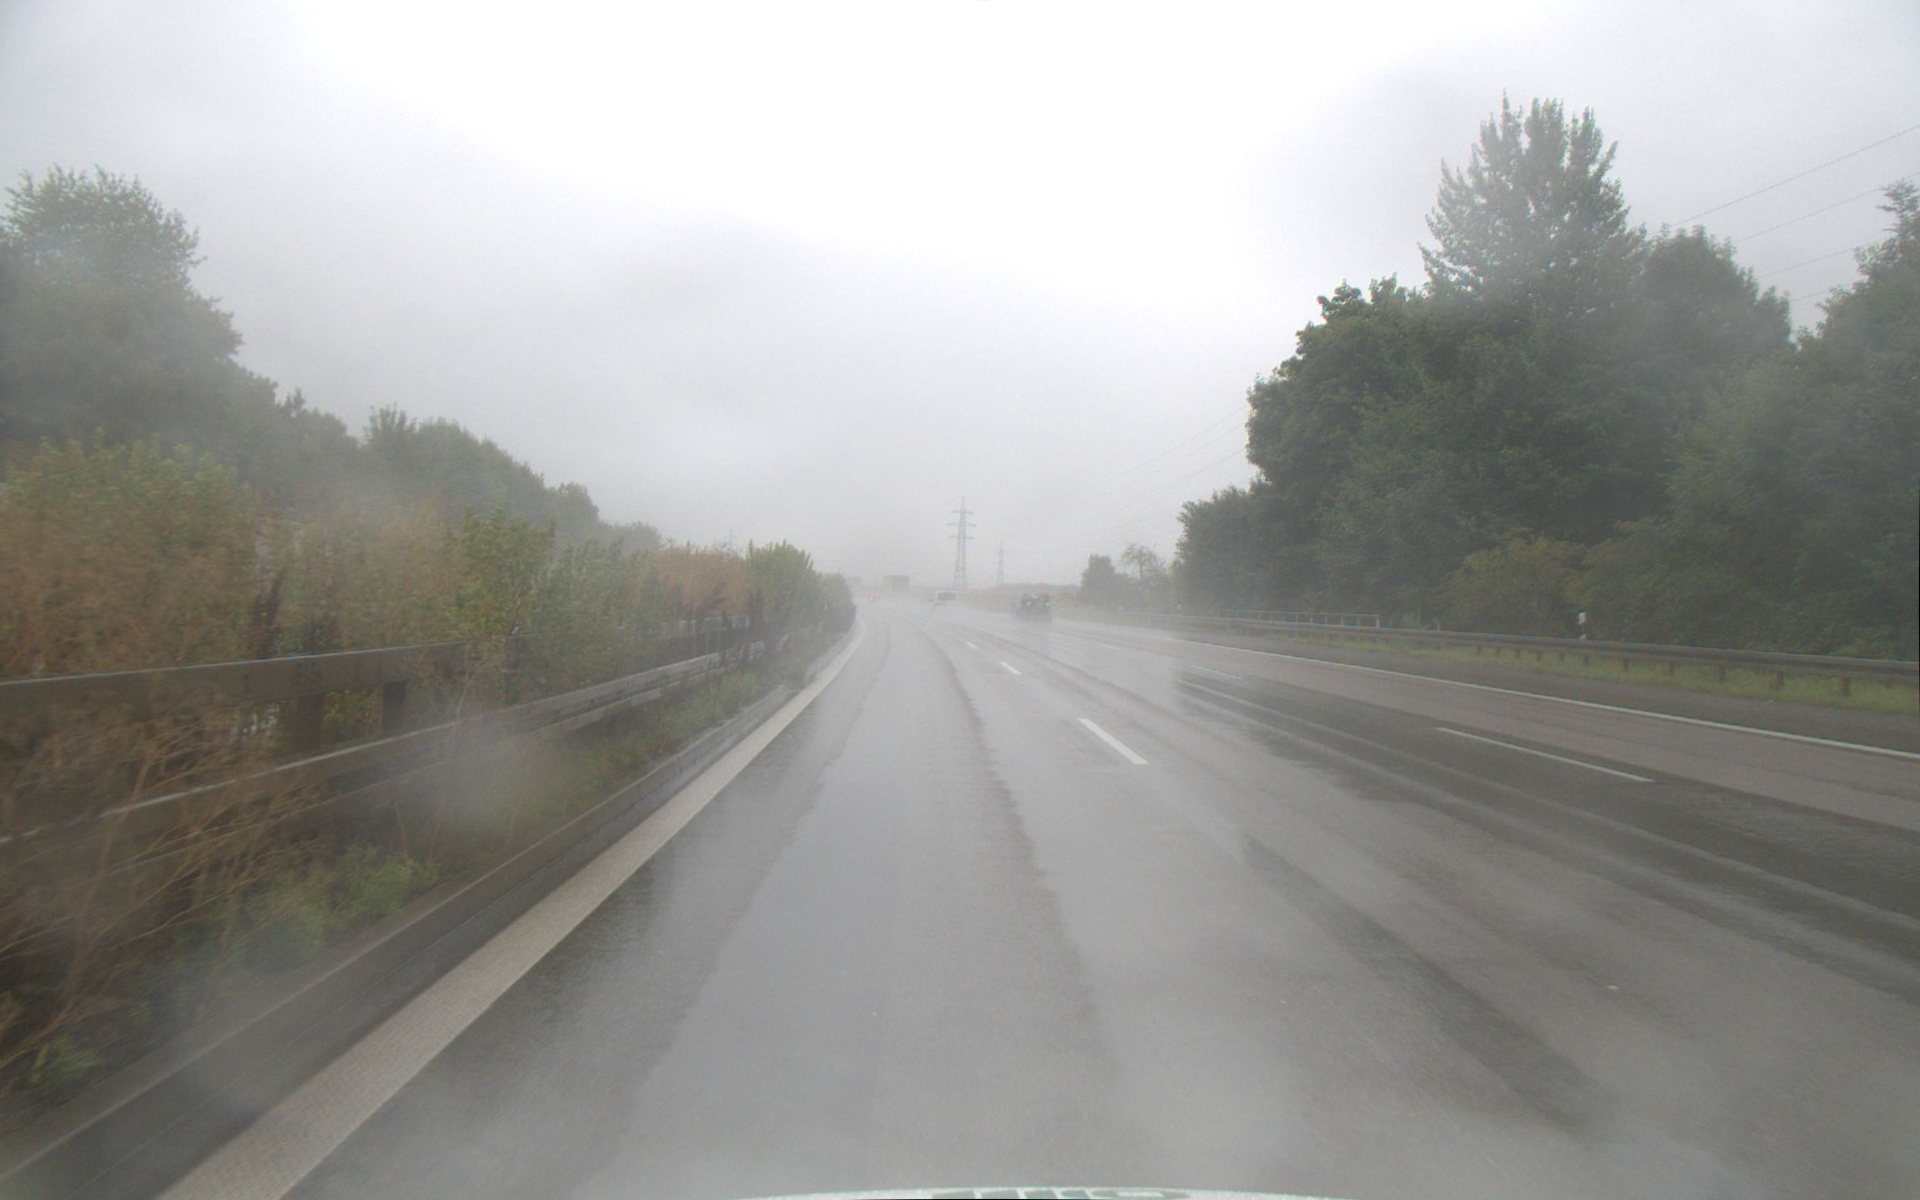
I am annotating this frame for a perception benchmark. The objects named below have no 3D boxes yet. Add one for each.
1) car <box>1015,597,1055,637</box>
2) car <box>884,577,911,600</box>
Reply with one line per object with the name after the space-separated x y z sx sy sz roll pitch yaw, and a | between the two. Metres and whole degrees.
4.357 0.972 96.455 1.772 2.196 3.995 1 0 -6 | car
-8.999 -1.625 237.905 3.140 3.248 7.243 1 0 -8 | car
